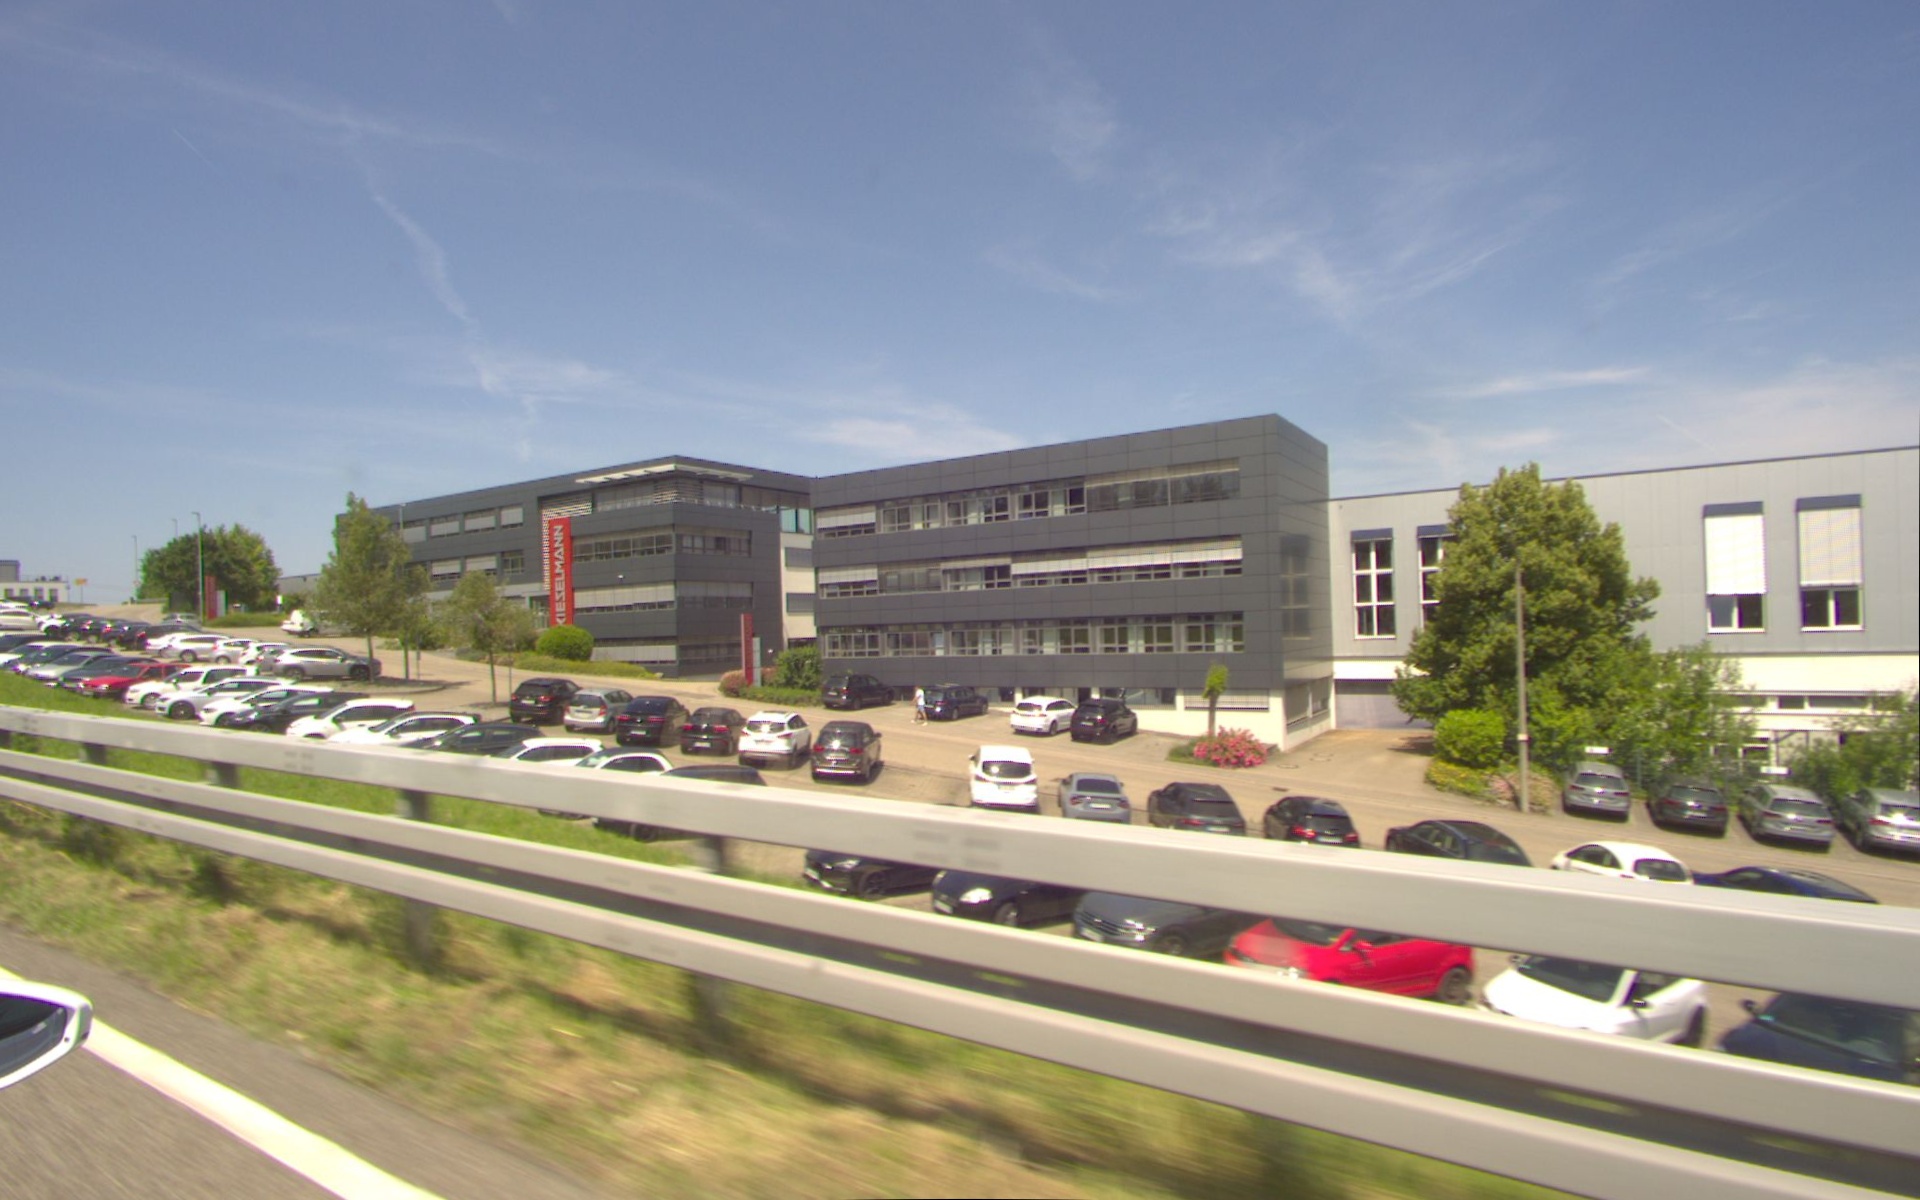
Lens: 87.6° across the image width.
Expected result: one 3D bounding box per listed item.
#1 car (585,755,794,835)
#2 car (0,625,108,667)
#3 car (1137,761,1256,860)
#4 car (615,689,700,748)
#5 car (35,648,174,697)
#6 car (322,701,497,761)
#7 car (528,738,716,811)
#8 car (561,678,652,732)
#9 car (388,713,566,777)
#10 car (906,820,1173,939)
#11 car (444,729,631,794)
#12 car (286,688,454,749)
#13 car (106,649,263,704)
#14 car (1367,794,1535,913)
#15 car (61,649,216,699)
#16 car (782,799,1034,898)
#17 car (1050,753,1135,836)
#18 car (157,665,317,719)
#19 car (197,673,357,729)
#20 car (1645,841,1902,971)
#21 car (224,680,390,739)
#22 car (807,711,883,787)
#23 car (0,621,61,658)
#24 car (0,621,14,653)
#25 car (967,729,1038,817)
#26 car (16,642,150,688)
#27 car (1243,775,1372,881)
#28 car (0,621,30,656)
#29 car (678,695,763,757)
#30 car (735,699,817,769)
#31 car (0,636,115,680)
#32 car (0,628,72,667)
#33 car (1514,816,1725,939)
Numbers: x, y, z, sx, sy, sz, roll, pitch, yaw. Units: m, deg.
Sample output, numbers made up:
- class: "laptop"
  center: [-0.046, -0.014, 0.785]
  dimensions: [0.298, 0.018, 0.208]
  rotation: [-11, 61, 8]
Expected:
- class: "car"
  center: [-6.263, 4.513, 23.388]
  dimensions: [4.324, 1.508, 1.700]
  rotation: [7, -4, -33]
- class: "car"
  center: [-42.401, 2.159, 46.303]
  dimensions: [1.851, 1.705, 4.382]
  rotation: [4, -4, 5]
- class: "car"
  center: [6.000, 5.346, 25.973]
  dimensions: [1.756, 1.530, 4.410]
  rotation: [5, 0, -2]
- class: "car"
  center: [-10.987, 4.270, 36.684]
  dimensions: [1.785, 1.533, 4.586]
  rotation: [4, 0, -2]
- class: "car"
  center: [-34.498, 2.923, 40.561]
  dimensions: [1.852, 1.705, 4.381]
  rotation: [5, -4, -3]
- class: "car"
  center: [-16.277, 3.893, 29.690]
  dimensions: [4.323, 1.473, 1.808]
  rotation: [7, -4, -33]
- class: "car"
  center: [-8.423, 4.365, 25.091]
  dimensions: [4.076, 1.536, 1.669]
  rotation: [7, -4, -33]
- class: "car"
  center: [-13.707, 4.040, 39.129]
  dimensions: [1.785, 1.559, 4.587]
  rotation: [4, 0, 1]
- class: "car"
  center: [-13.635, 4.113, 28.365]
  dimensions: [4.319, 1.473, 1.809]
  rotation: [7, -4, -30]
- class: "car"
  center: [1.542, 5.111, 18.760]
  dimensions: [4.665, 1.583, 1.950]
  rotation: [7, -4, -31]
- class: "car"
  center: [-11.168, 4.284, 26.545]
  dimensions: [4.319, 1.411, 1.809]
  rotation: [7, -4, -30]
- class: "car"
  center: [-18.450, 3.735, 31.427]
  dimensions: [4.323, 1.578, 1.851]
  rotation: [7, -4, -33]
- class: "car"
  center: [-28.972, 2.882, 37.609]
  dimensions: [4.408, 1.705, 1.875]
  rotation: [7, -4, -35]
- class: "car"
  center: [11.163, 5.737, 23.154]
  dimensions: [1.755, 1.560, 4.412]
  rotation: [4, -1, 2]
- class: "car"
  center: [-31.946, 2.926, 39.134]
  dimensions: [1.852, 1.705, 4.380]
  rotation: [4, -4, 12]
- class: "car"
  center: [-0.997, 4.909, 20.190]
  dimensions: [4.665, 1.505, 1.904]
  rotation: [7, -4, -31]
- class: "car"
  center: [3.580, 5.285, 27.706]
  dimensions: [1.756, 1.396, 4.160]
  rotation: [4, 0, 1]
- class: "car"
  center: [-26.026, 3.333, 36.254]
  dimensions: [4.316, 1.578, 1.880]
  rotation: [7, -4, -28]
- class: "car"
  center: [-23.258, 3.458, 34.298]
  dimensions: [4.323, 1.578, 1.877]
  rotation: [7, -4, -33]
- class: "car"
  center: [16.354, 6.115, 20.479]
  dimensions: [1.755, 1.462, 4.416]
  rotation: [4, -4, 2]
- class: "car"
  center: [-21.234, 3.584, 32.755]
  dimensions: [4.323, 1.578, 1.877]
  rotation: [7, -4, -33]
- class: "car"
  center: [-3.622, 4.696, 32.208]
  dimensions: [1.756, 1.682, 4.587]
  rotation: [4, 0, 1]
- class: "car"
  center: [-47.536, 1.895, 49.481]
  dimensions: [1.851, 1.705, 4.382]
  rotation: [4, -4, 5]
- class: "car"
  center: [-52.717, 1.797, 52.424]
  dimensions: [1.851, 1.705, 4.382]
  rotation: [4, -4, 5]
- class: "car"
  center: [1.159, 4.896, 28.932]
  dimensions: [1.756, 1.682, 4.587]
  rotation: [4, 0, 1]
- class: "car"
  center: [-37.261, 2.778, 42.700]
  dimensions: [1.852, 1.705, 4.381]
  rotation: [5, -4, -3]
- class: "car"
  center: [8.542, 5.571, 25.021]
  dimensions: [1.755, 1.556, 4.411]
  rotation: [4, 0, 2]
- class: "car"
  center: [-50.234, 1.851, 50.694]
  dimensions: [1.851, 1.705, 4.382]
  rotation: [4, -4, 5]
- class: "car"
  center: [-8.477, 4.432, 35.841]
  dimensions: [1.785, 1.533, 4.587]
  rotation: [4, 0, 1]
- class: "car"
  center: [-6.159, 4.474, 34.064]
  dimensions: [1.785, 1.682, 4.587]
  rotation: [4, 0, 1]
- class: "car"
  center: [-39.773, 2.557, 43.861]
  dimensions: [1.852, 1.705, 4.381]
  rotation: [5, -4, -3]
- class: "car"
  center: [-45.268, 2.242, 47.563]
  dimensions: [1.851, 1.705, 4.382]
  rotation: [4, -4, 5]
- class: "car"
  center: [14.170, 5.919, 21.866]
  dimensions: [1.755, 1.623, 4.416]
  rotation: [4, -4, 2]
